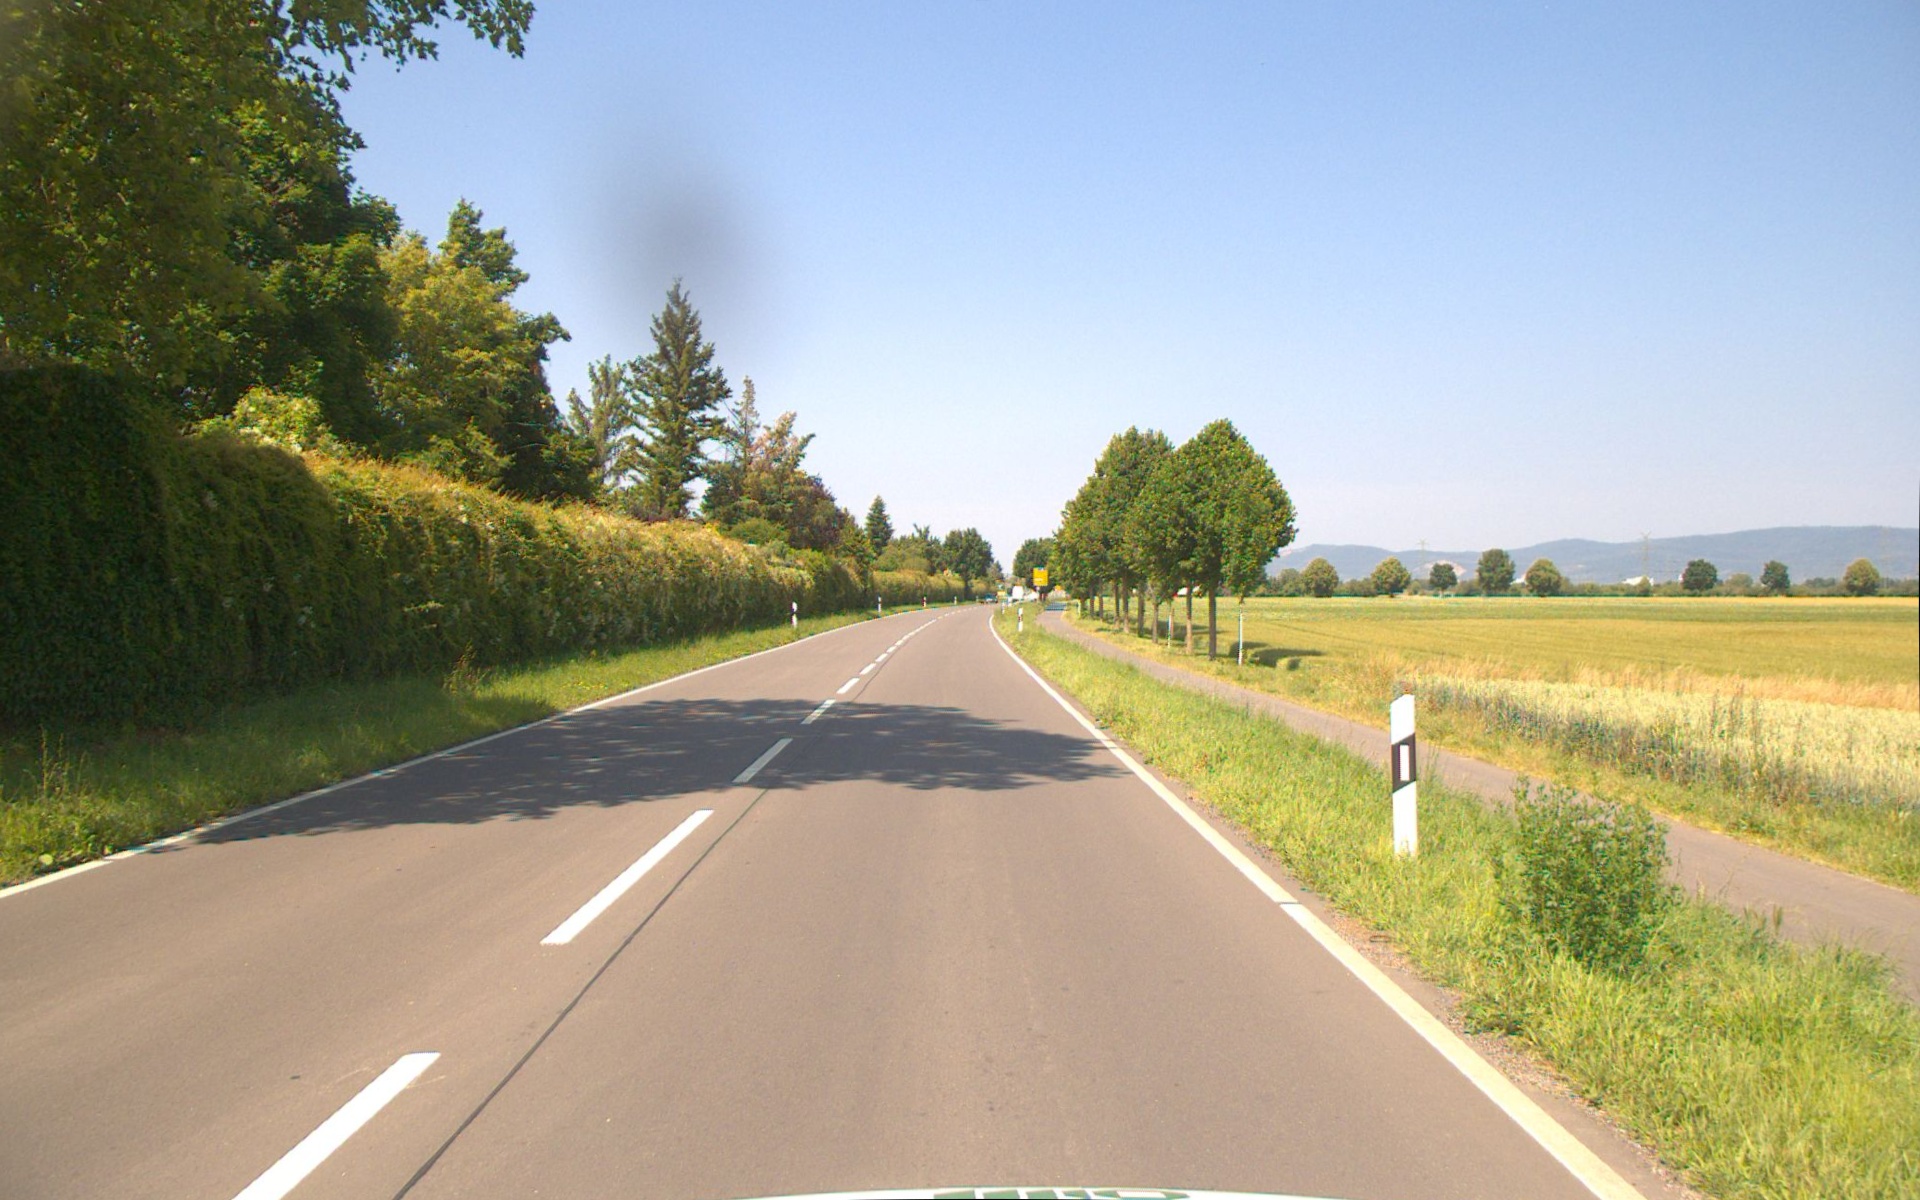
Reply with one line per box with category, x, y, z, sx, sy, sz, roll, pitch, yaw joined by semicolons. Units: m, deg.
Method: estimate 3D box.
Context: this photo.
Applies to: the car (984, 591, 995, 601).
car;4.550;-0.564;255.633;1.802;1.493;3.933;0;0;1
